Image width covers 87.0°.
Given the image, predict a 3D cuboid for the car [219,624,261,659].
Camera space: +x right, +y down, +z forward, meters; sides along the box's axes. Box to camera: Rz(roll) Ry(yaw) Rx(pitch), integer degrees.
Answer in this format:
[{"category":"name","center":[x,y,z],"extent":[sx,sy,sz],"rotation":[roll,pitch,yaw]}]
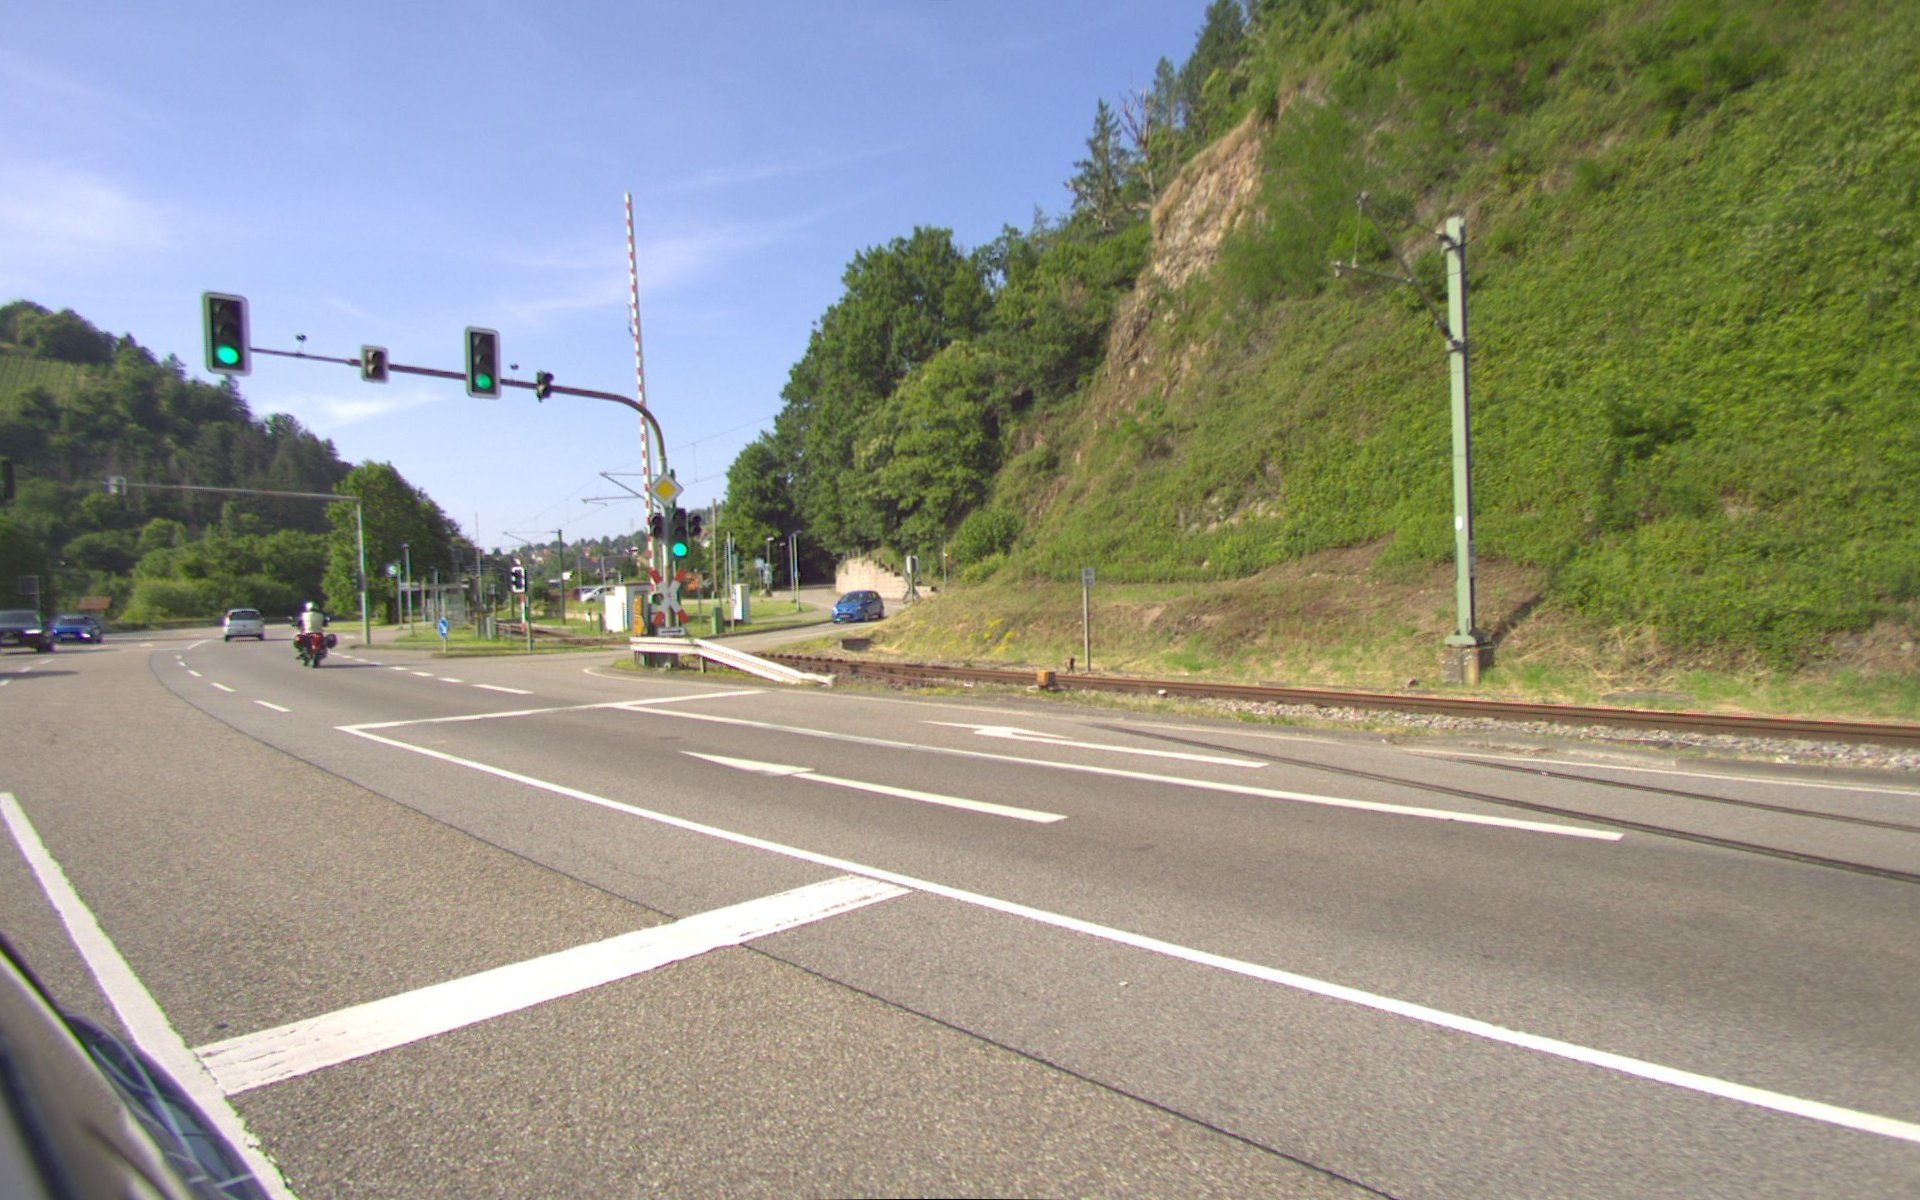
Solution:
[{"category":"car","center":[-37.321,2.117,52.494],"extent":[1.670,1.669,4.182],"rotation":[-1,0,-35]}]

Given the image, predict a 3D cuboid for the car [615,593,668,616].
[{"category":"car","center":[-26.016,0.381,82.755],"extent":[3.931,1.763,1.646],"rotation":[-1,-1,-26]}]

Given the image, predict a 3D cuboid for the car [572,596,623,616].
[{"category":"car","center":[-35.080,0.603,97.940],"extent":[4.376,1.817,2.007],"rotation":[-1,0,-26]}]

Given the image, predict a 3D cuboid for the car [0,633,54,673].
[{"category":"car","center":[-36.104,1.998,38.578],"extent":[1.967,1.403,4.009],"rotation":[-1,-1,-37]}]

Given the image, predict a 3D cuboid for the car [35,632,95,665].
[{"category":"car","center":[-44.155,2.353,50.014],"extent":[1.838,1.503,4.009],"rotation":[-1,-1,-36]}]

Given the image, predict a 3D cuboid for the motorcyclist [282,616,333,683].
[{"category":"motorcyclist","center":[-17.273,1.289,26.780],"extent":[0.994,1.728,0.866],"rotation":[0,-1,-42]}]

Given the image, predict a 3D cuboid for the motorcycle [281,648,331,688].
[{"category":"motorcycle","center":[-17.337,1.782,26.812],"extent":[0.814,0.961,2.221],"rotation":[0,-1,-41]}]

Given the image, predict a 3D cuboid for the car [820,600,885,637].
[{"category":"car","center":[-5.141,0.861,49.009],"extent":[1.876,1.519,3.984],"rotation":[-1,2,13]}]
